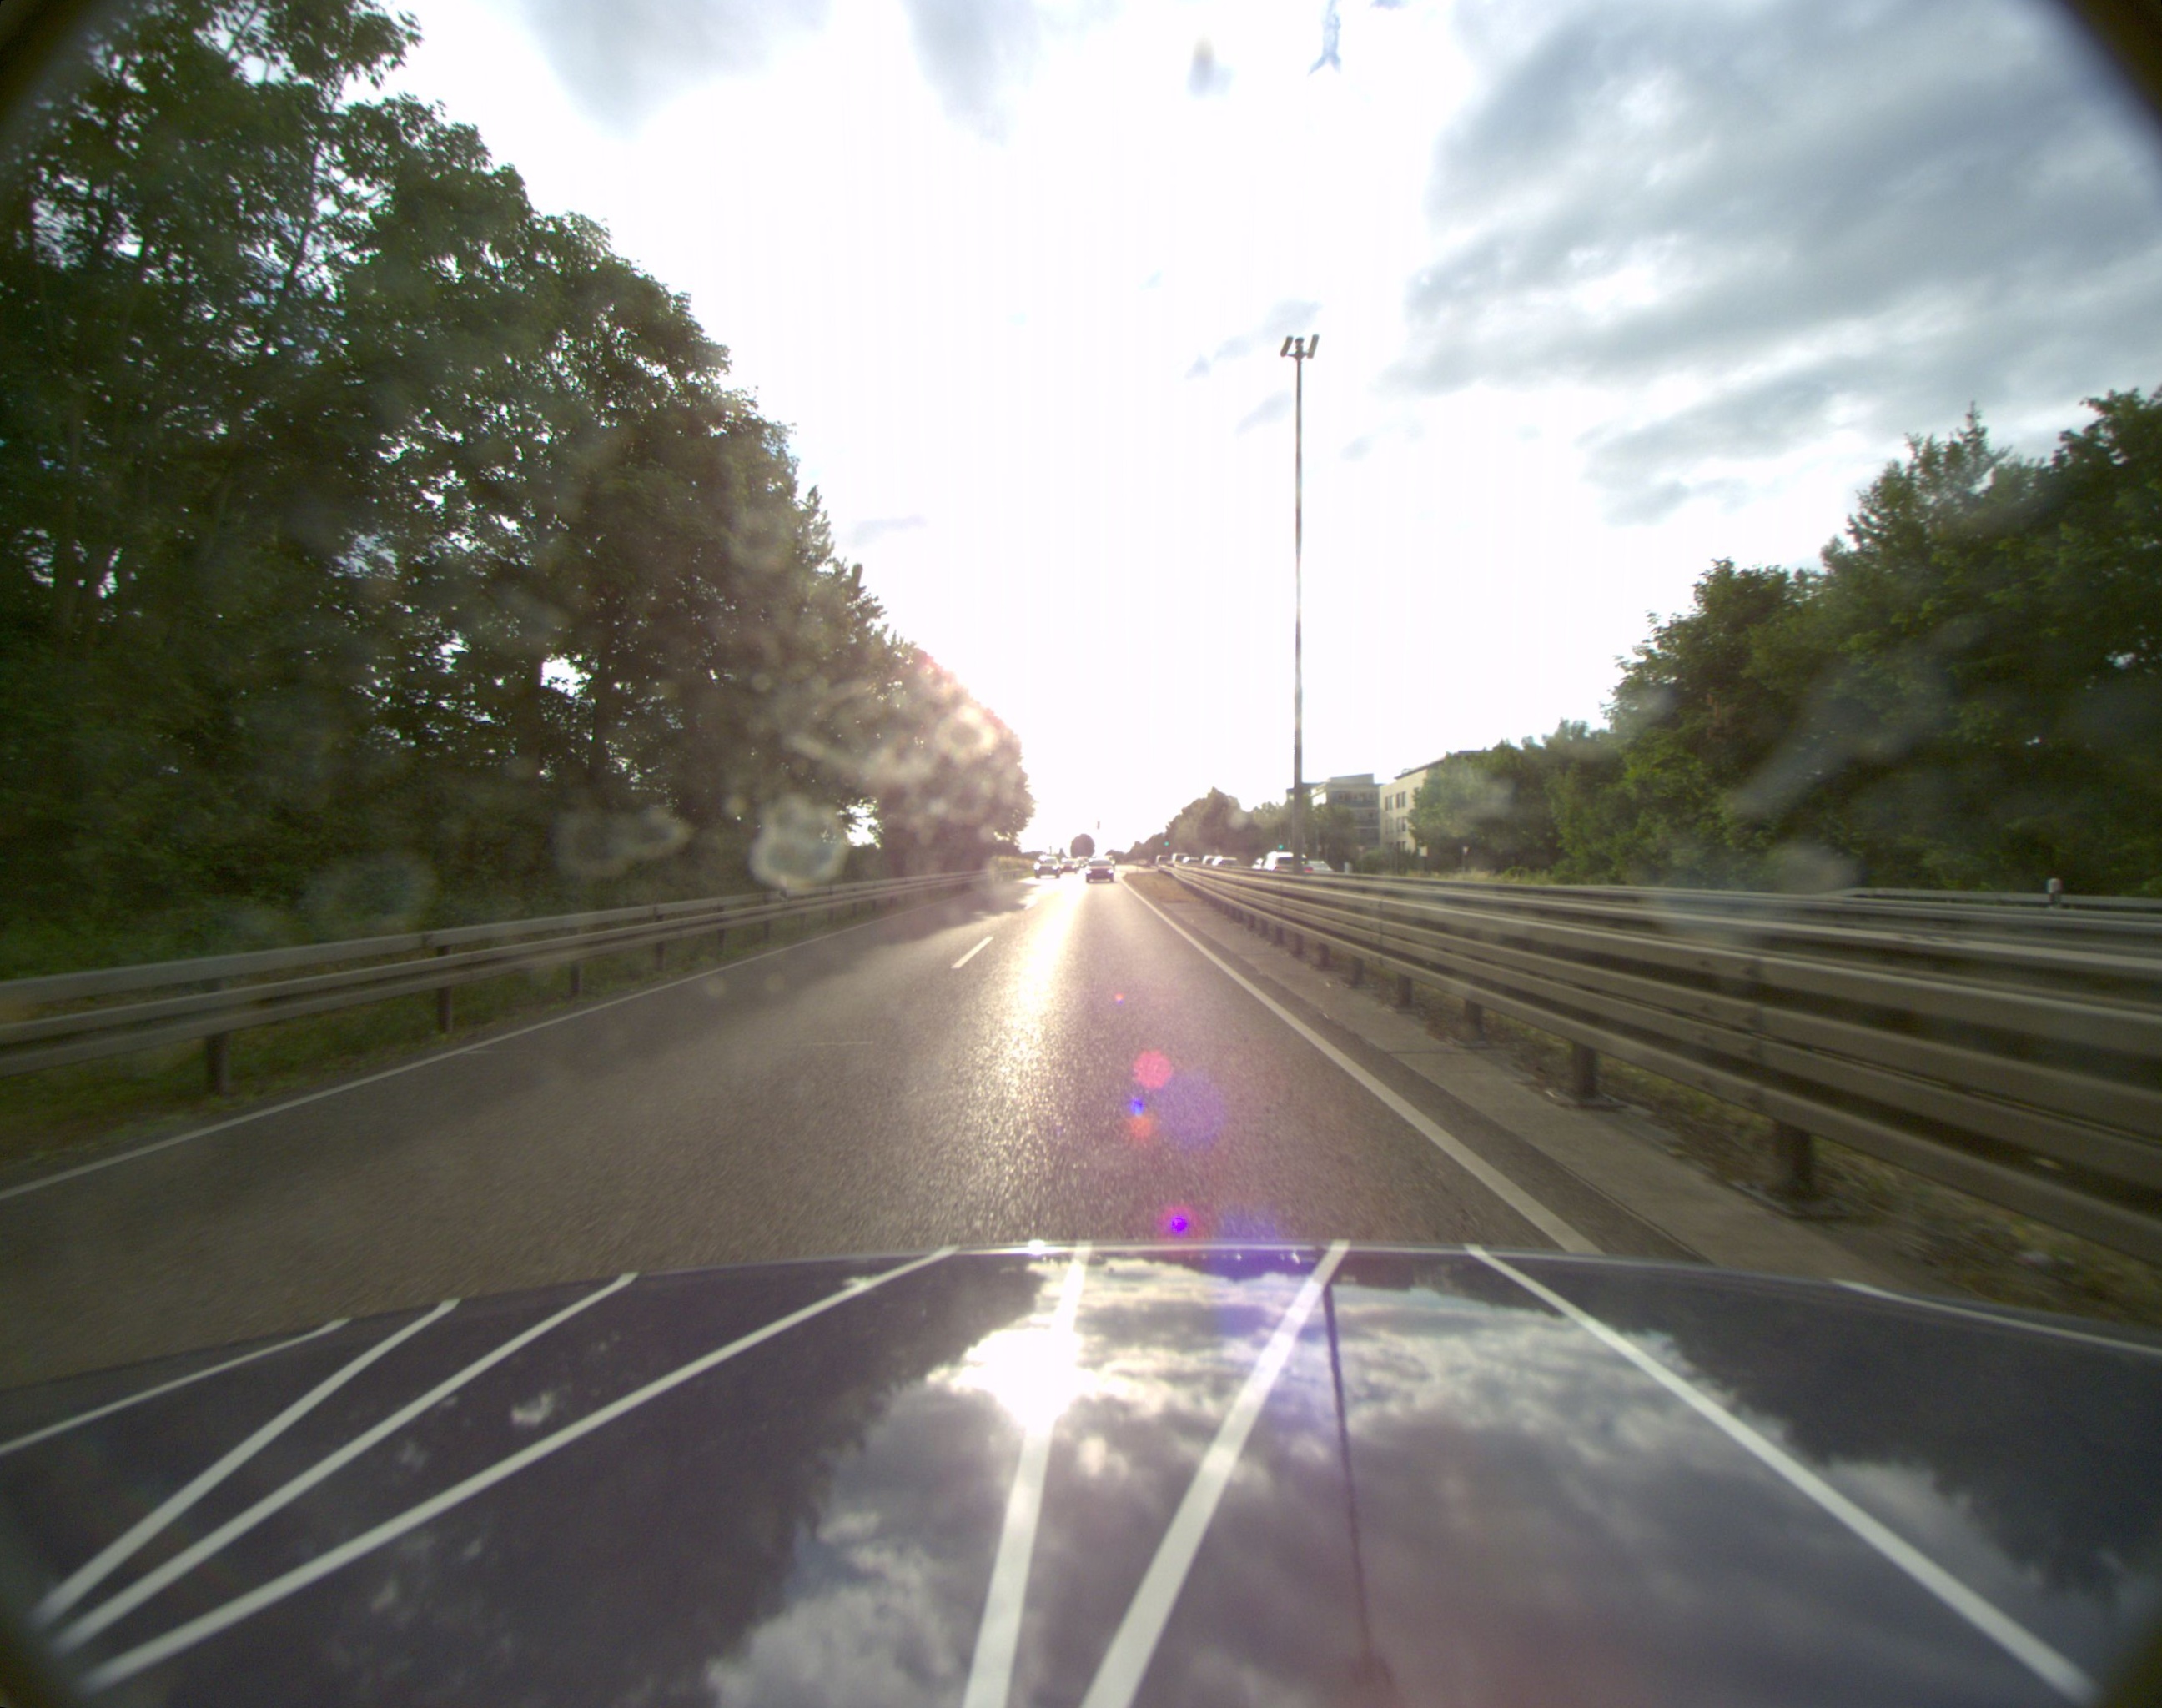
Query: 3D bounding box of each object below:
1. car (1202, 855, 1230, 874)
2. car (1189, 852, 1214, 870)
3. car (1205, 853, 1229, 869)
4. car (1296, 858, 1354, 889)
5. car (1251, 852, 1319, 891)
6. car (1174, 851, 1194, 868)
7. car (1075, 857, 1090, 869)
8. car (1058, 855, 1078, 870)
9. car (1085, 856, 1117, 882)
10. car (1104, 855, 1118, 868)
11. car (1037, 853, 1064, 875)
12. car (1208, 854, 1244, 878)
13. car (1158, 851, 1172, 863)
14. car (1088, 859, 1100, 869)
[{"bbox_3d":[10.376,0.777,58.424,1.560,1.352,3.464,-2,-1,2],"label":"car"},{"bbox_3d":[11.130,0.636,70.239,1.716,1.580,4.554,0,0,2],"label":"car"},{"bbox_3d":[15.262,0.755,85.599,2.038,1.739,4.846,0,0,3],"label":"car"},{"bbox_3d":[12.982,0.984,40.718,1.839,1.527,4.397,1,0,3],"label":"car"},{"bbox_3d":[8.827,0.705,33.311,1.827,1.575,4.791,0,0,2],"label":"car"},{"bbox_3d":[11.772,0.600,87.199,1.903,1.905,5.051,0,0,3],"label":"car"},{"bbox_3d":[0.263,1.247,110.461,1.948,1.652,4.001,-2,-1,2],"label":"car"},{"bbox_3d":[-1.234,0.838,75.431,1.668,1.467,3.867,-1,0,4],"label":"car"},{"bbox_3d":[1.225,0.876,45.364,1.723,1.467,3.729,0,0,4],"label":"car"},{"bbox_3d":[3.900,0.957,98.540,1.786,1.624,3.866,-1,0,3],"label":"car"},{"bbox_3d":[-2.396,0.796,59.890,1.723,1.657,4.420,-2,-1,2],"label":"car"},{"bbox_3d":[9.403,0.756,49.598,1.722,1.458,3.734,0,0,2],"label":"car"},{"bbox_3d":[13.738,0.517,124.264,1.939,1.861,5.347,-1,0,2],"label":"car"},{"bbox_3d":[2.437,1.834,142.078,1.998,1.740,4.000,3,1,2],"label":"car"}]
